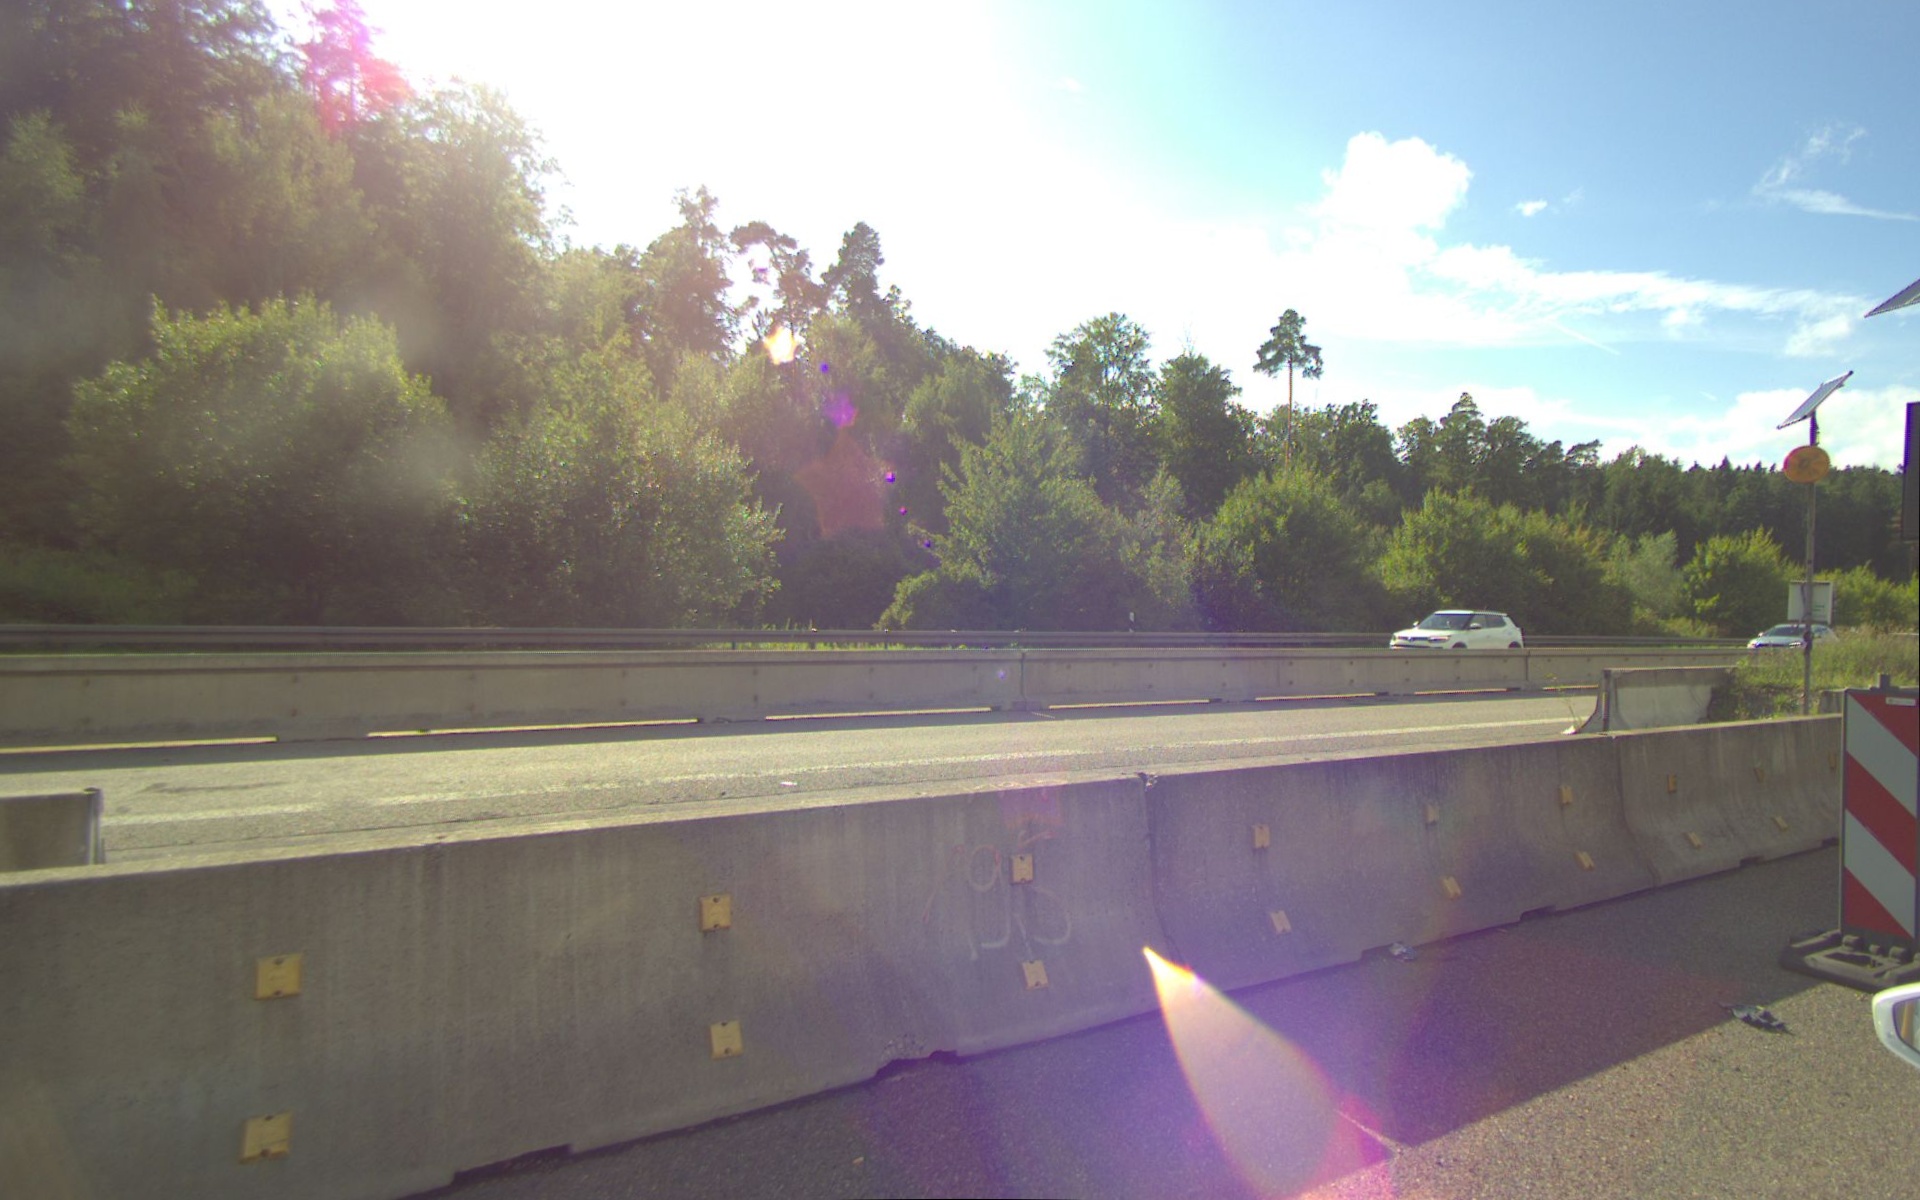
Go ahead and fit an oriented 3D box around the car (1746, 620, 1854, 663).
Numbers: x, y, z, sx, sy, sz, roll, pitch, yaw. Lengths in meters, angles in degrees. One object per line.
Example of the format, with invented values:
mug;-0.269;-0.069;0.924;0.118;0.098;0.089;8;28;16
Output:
car;33.616;1.653;40.169;4.619;1.624;1.770;2;0;-29

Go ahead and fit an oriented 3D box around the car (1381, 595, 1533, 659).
car;13.615;0.740;27.489;3.969;1.624;1.770;2;0;-29
